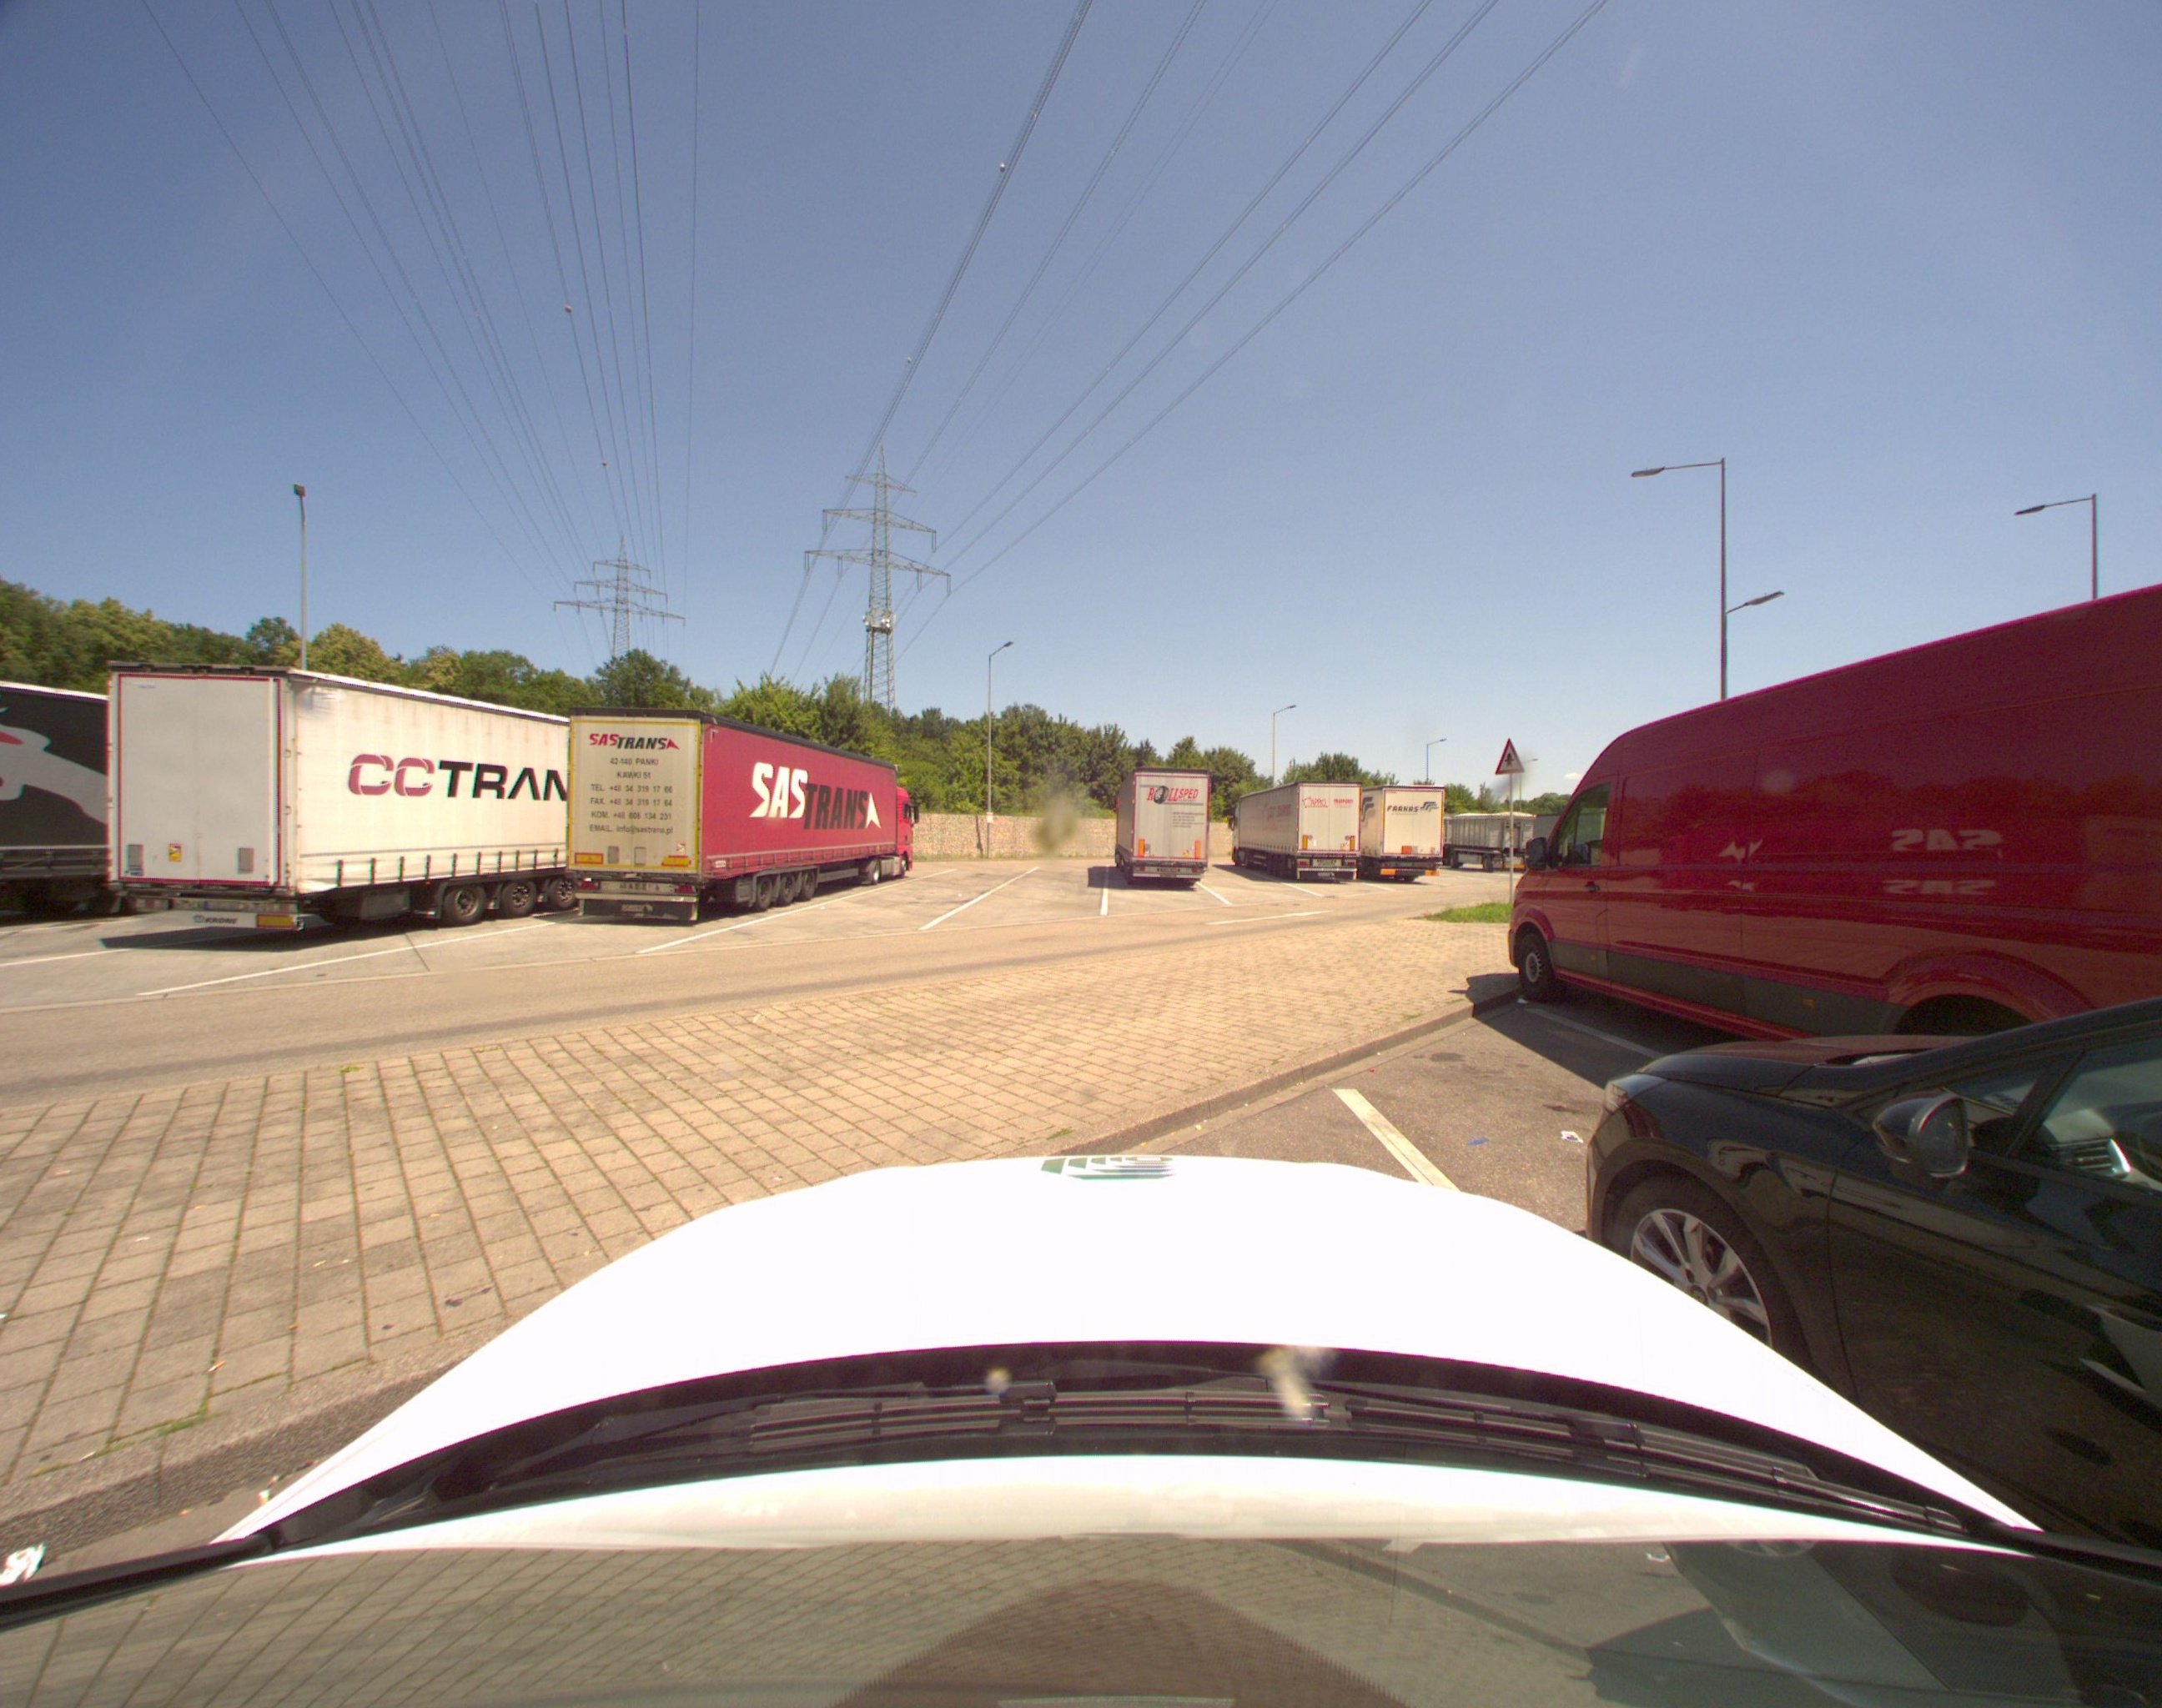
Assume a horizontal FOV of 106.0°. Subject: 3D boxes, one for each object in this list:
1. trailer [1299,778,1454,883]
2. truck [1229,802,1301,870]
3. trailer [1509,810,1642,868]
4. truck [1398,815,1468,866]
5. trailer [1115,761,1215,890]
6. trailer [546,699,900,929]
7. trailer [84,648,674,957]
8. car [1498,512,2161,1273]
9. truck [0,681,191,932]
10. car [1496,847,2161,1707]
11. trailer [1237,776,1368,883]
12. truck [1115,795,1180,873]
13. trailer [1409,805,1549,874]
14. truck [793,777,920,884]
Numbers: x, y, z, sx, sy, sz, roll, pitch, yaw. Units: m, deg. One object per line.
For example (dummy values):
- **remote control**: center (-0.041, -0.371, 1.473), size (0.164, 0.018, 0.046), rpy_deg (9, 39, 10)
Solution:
- **trailer**: center (13.605, -1.114, 39.278), size (2.828, 4.132, 13.730), rpy_deg (1, 2, 2)
- **truck**: center (10.157, -1.021, 45.425), size (2.841, 3.483, 5.486), rpy_deg (1, 1, 2)
- **trailer**: center (38.368, -1.225, 64.128), size (2.826, 4.049, 13.737), rpy_deg (1, 2, 3)
- **truck**: center (24.914, -1.000, 57.943), size (2.840, 3.364, 5.488), rpy_deg (1, 1, 3)
- **trailer**: center (3.018, -1.097, 33.287), size (2.896, 4.132, 13.727), rpy_deg (1, 2, 1)
- **trailer**: center (-8.045, -0.951, 21.648), size (2.896, 4.131, 13.731), rpy_deg (1, 2, 2)
- **trailer**: center (-12.210, -0.887, 16.319), size (2.718, 4.209, 10.175), rpy_deg (1, 2, 2)
- **car**: center (5.155, 0.088, 5.480), size (2.055, 2.695, 6.405), rpy_deg (-1, 1, 6)
- **truck**: center (-18.586, -0.801, 13.554), size (2.692, 4.016, 4.326), rpy_deg (1, 2, 2)
- **car**: center (2.512, 0.754, 1.170), size (1.733, 1.482, 3.813), rpy_deg (-1, 1, -3)
- **trailer**: center (9.949, -1.148, 38.614), size (2.828, 4.132, 13.730), rpy_deg (1, 2, 2)
- **truck**: center (3.162, -0.982, 39.900), size (2.841, 3.483, 5.486), rpy_deg (1, 1, 2)
- **trailer**: center (24.525, -0.992, 51.444), size (2.826, 3.717, 13.737), rpy_deg (1, 2, 3)
- **truck**: center (-7.807, -0.831, 29.084), size (2.841, 3.427, 5.486), rpy_deg (1, 1, 2)
